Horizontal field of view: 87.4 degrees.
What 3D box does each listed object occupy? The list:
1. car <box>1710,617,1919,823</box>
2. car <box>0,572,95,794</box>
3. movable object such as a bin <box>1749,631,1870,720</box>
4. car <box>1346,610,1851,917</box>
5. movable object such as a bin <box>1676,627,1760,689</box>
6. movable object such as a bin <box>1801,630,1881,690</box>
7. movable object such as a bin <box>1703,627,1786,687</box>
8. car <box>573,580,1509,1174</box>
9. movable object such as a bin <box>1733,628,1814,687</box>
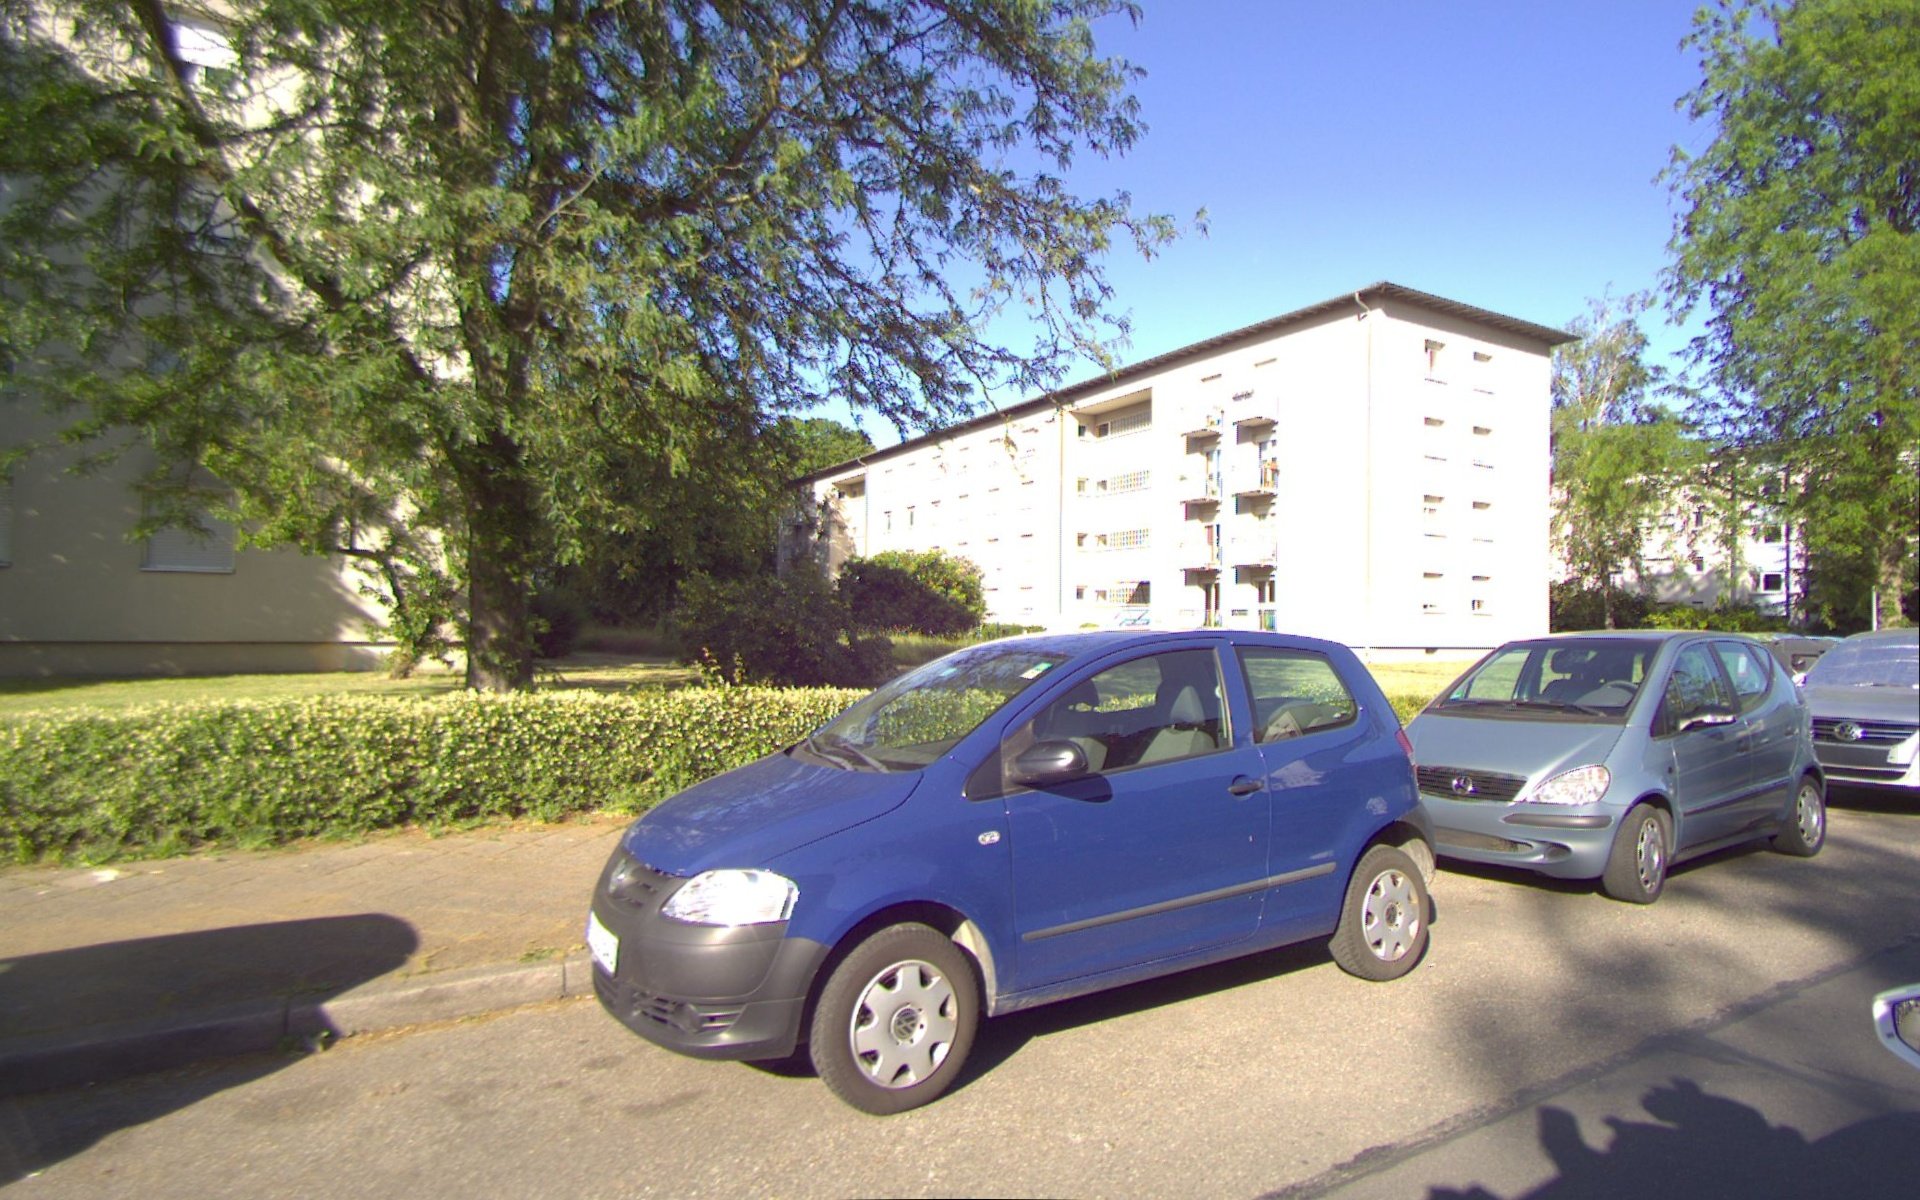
[{"bbox_3d":[9.326,1.033,9.684,4.299,1.661,1.894,2,-2,-31],"label":"car"},{"bbox_3d":[-9.017,0.577,7.265,3.957,1.663,1.561,2,0,-33],"label":"car"},{"bbox_3d":[14.622,1.271,17.296,1.424,1.401,1.131,1,1,-29],"label":"movable object such as a bin"},{"bbox_3d":[4.495,0.935,6.986,3.496,1.627,1.627,2,-2,-32],"label":"car"},{"bbox_3d":[19.067,1.440,25.270,1.444,1.440,1.172,1,1,-29],"label":"movable object such as a bin"},{"bbox_3d":[22.748,1.534,25.937,1.344,1.440,1.129,1,1,-29],"label":"movable object such as a bin"},{"bbox_3d":[20.318,1.453,26.031,1.444,1.440,1.172,1,1,-29],"label":"movable object such as a bin"},{"bbox_3d":[0.471,0.846,4.542,3.922,1.627,1.746,2,-3,-30],"label":"car"},{"bbox_3d":[21.696,1.515,26.799,1.444,1.440,1.172,1,1,-29],"label":"movable object such as a bin"}]
